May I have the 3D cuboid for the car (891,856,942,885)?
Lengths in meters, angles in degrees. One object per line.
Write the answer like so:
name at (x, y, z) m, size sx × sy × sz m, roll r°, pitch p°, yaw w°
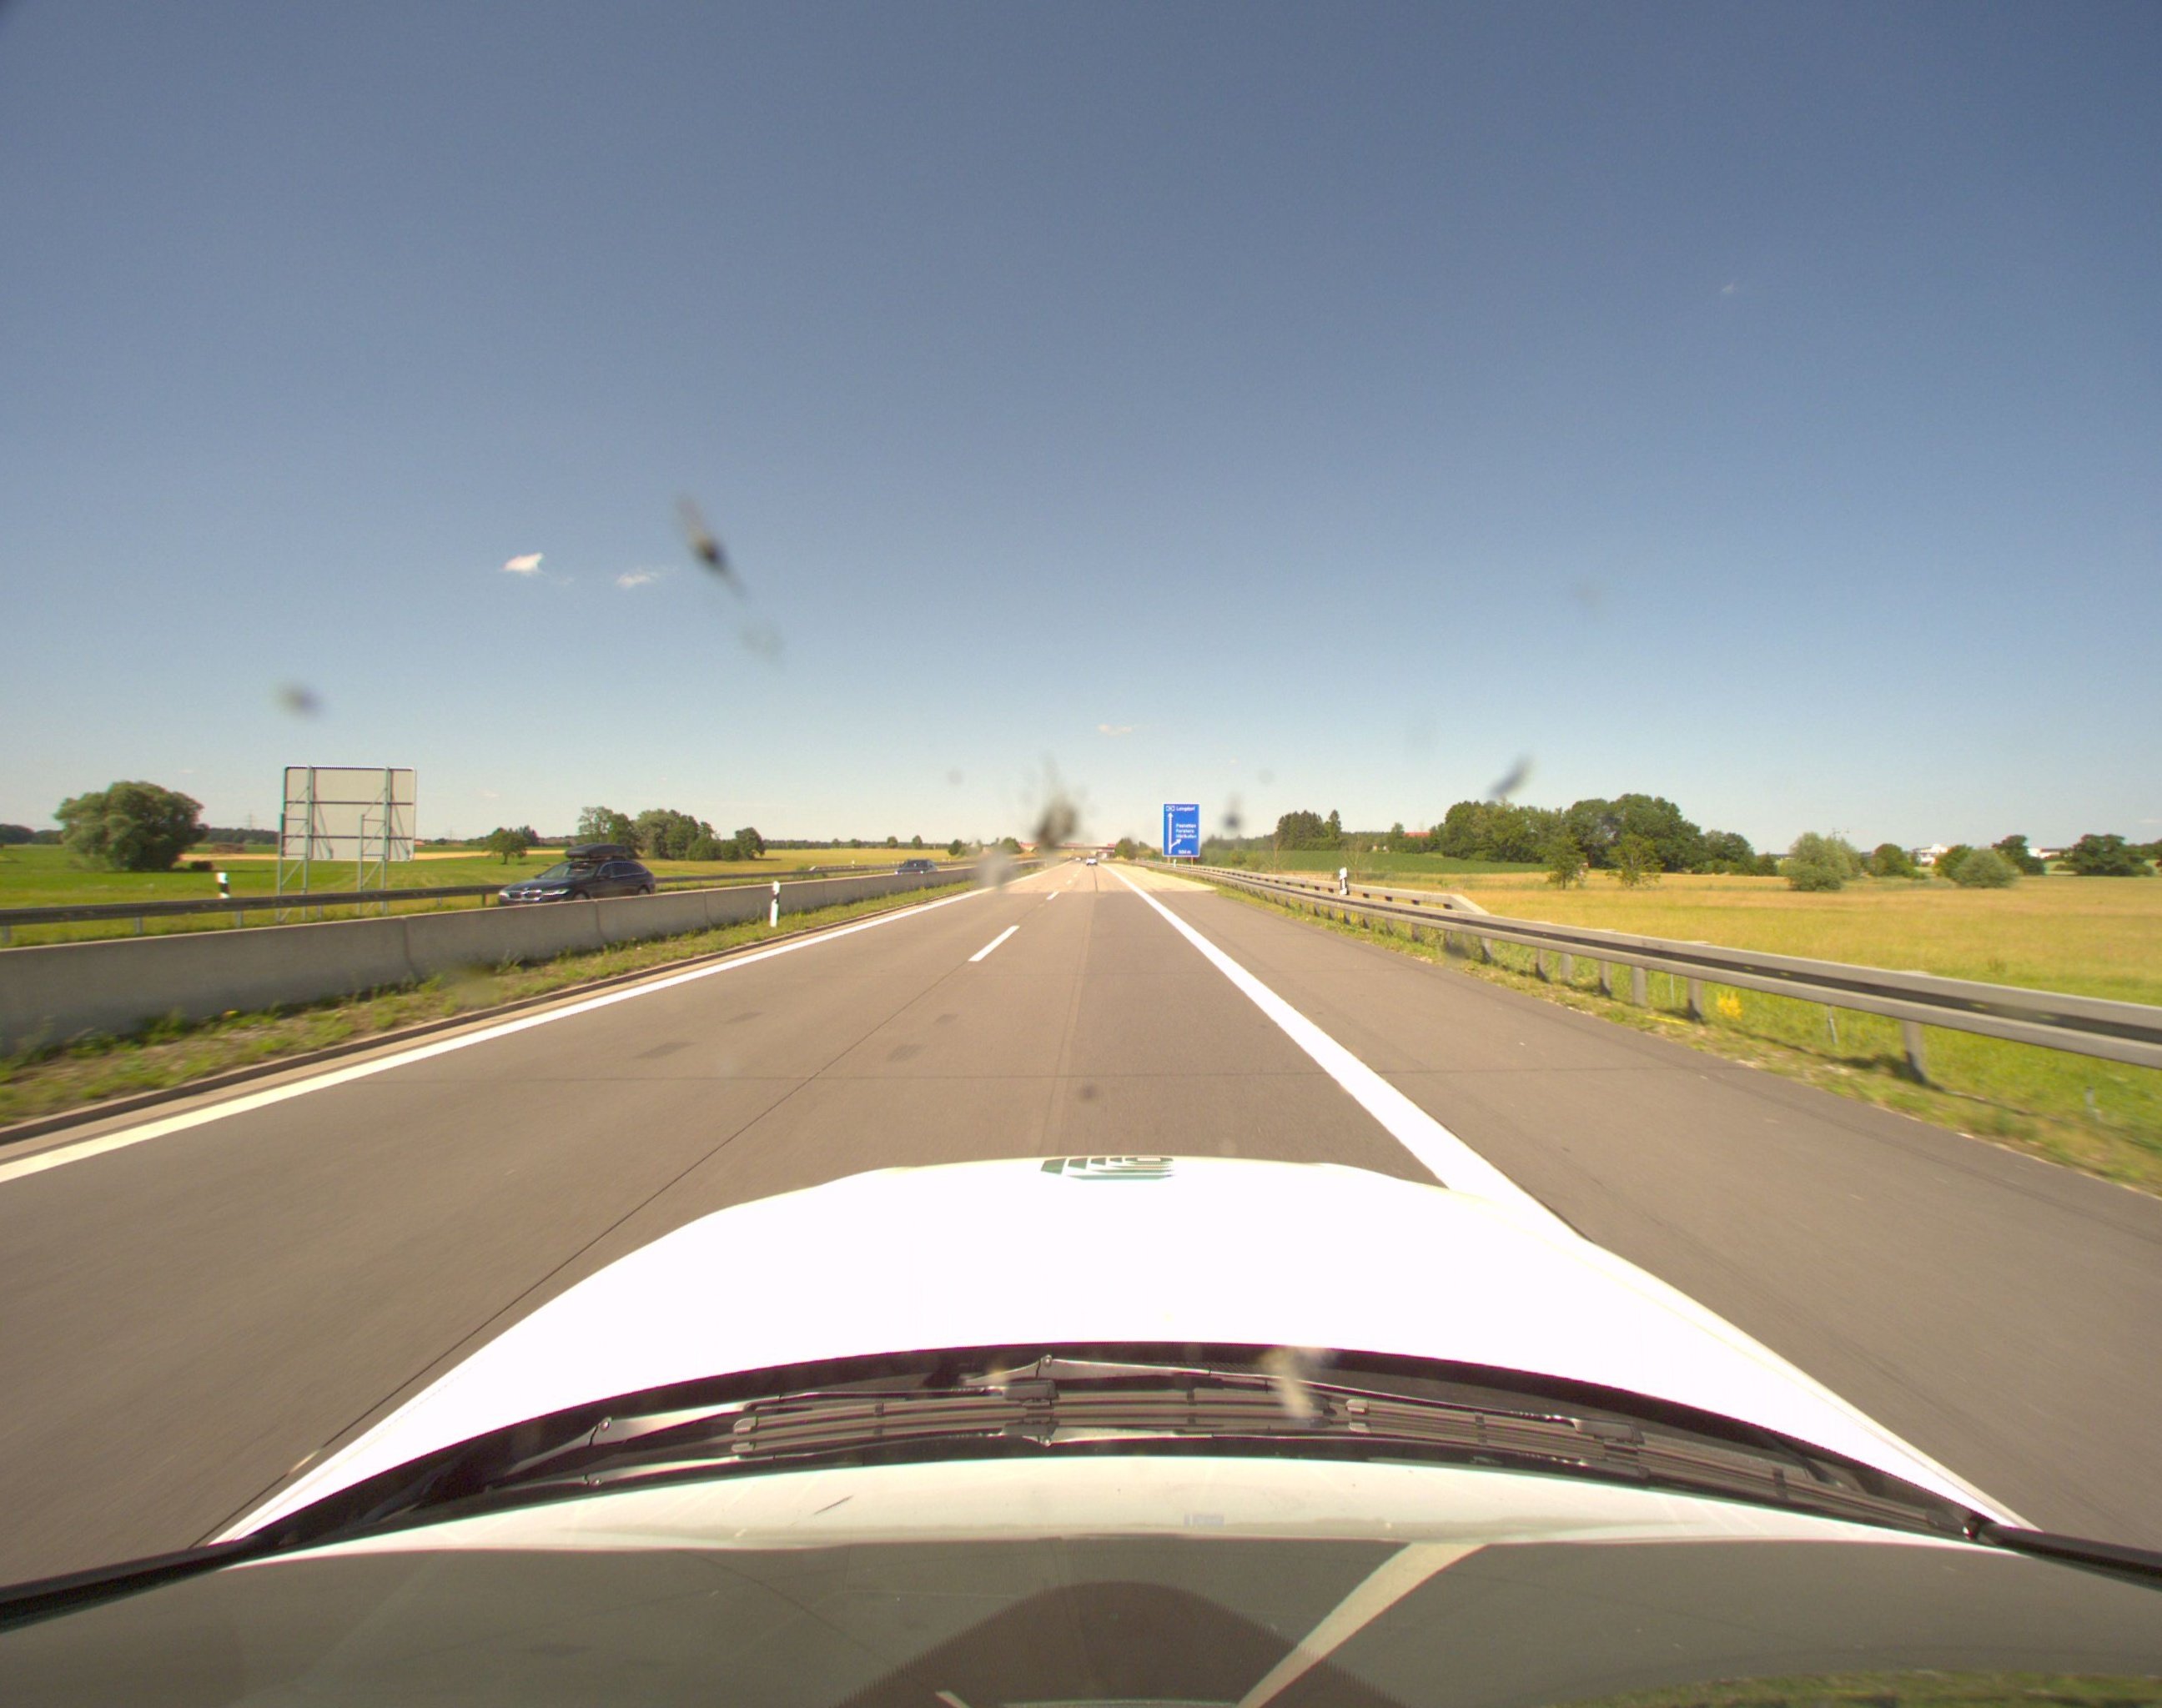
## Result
car at (-9.499, 0.919, 47.451) m, size 1.891 × 1.523 × 4.807 m, roll -1°, pitch 0°, yaw 1°

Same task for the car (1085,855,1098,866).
car at (1.788, 1.100, 134.542) m, size 1.988 × 1.731 × 4.866 m, roll 0°, pitch 0°, yaw -1°

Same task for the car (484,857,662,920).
car at (-14.018, 0.875, 22.884) m, size 1.891 × 1.523 × 4.807 m, roll -1°, pitch 0°, yaw 1°
